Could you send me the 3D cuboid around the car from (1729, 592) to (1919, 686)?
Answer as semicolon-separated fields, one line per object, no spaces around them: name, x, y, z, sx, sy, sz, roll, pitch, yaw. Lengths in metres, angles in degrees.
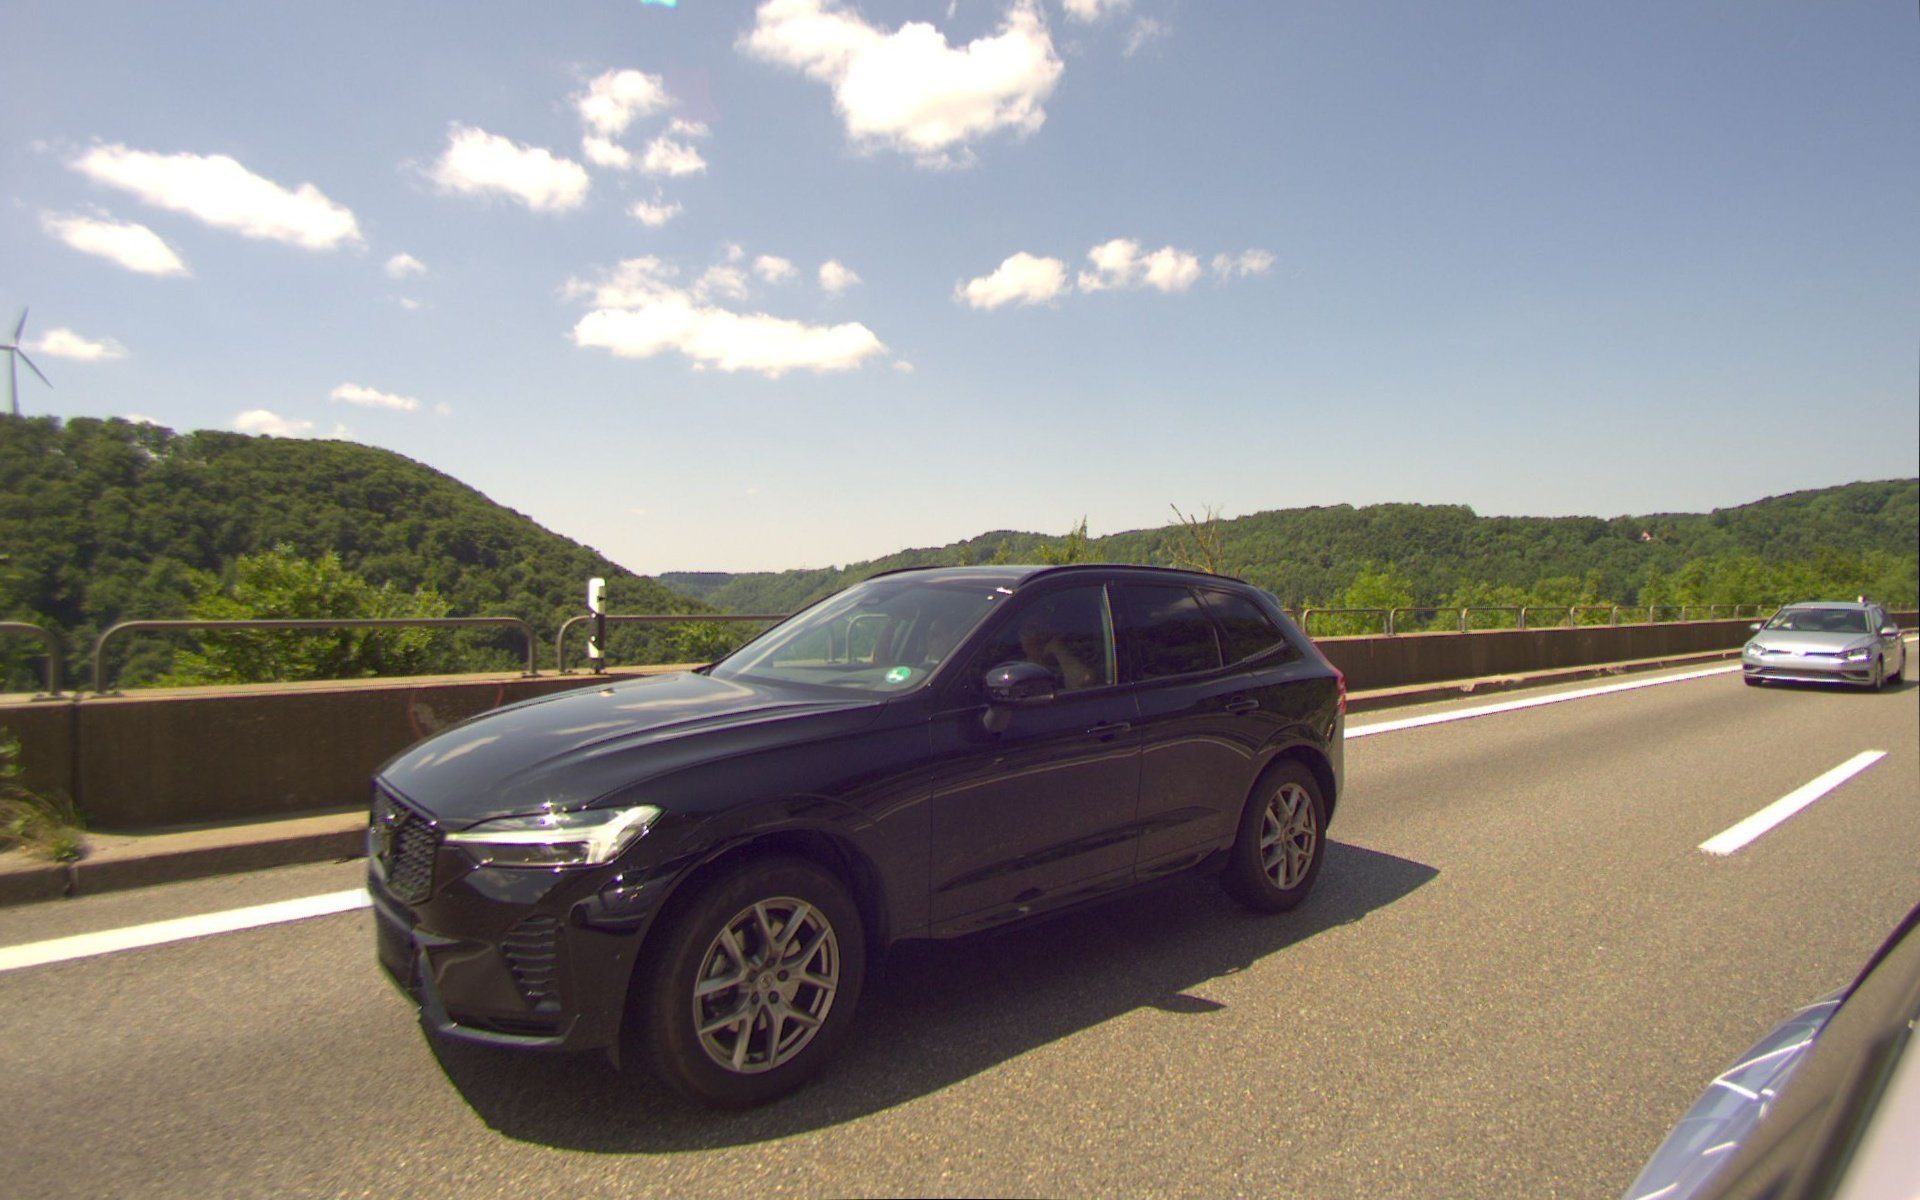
car;15.200;0.586;17.641;4.218;1.395;1.971;-1;0;-40

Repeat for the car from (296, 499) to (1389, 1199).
car;-0.056;0.587;4.447;4.582;1.654;1.837;0;0;-42
